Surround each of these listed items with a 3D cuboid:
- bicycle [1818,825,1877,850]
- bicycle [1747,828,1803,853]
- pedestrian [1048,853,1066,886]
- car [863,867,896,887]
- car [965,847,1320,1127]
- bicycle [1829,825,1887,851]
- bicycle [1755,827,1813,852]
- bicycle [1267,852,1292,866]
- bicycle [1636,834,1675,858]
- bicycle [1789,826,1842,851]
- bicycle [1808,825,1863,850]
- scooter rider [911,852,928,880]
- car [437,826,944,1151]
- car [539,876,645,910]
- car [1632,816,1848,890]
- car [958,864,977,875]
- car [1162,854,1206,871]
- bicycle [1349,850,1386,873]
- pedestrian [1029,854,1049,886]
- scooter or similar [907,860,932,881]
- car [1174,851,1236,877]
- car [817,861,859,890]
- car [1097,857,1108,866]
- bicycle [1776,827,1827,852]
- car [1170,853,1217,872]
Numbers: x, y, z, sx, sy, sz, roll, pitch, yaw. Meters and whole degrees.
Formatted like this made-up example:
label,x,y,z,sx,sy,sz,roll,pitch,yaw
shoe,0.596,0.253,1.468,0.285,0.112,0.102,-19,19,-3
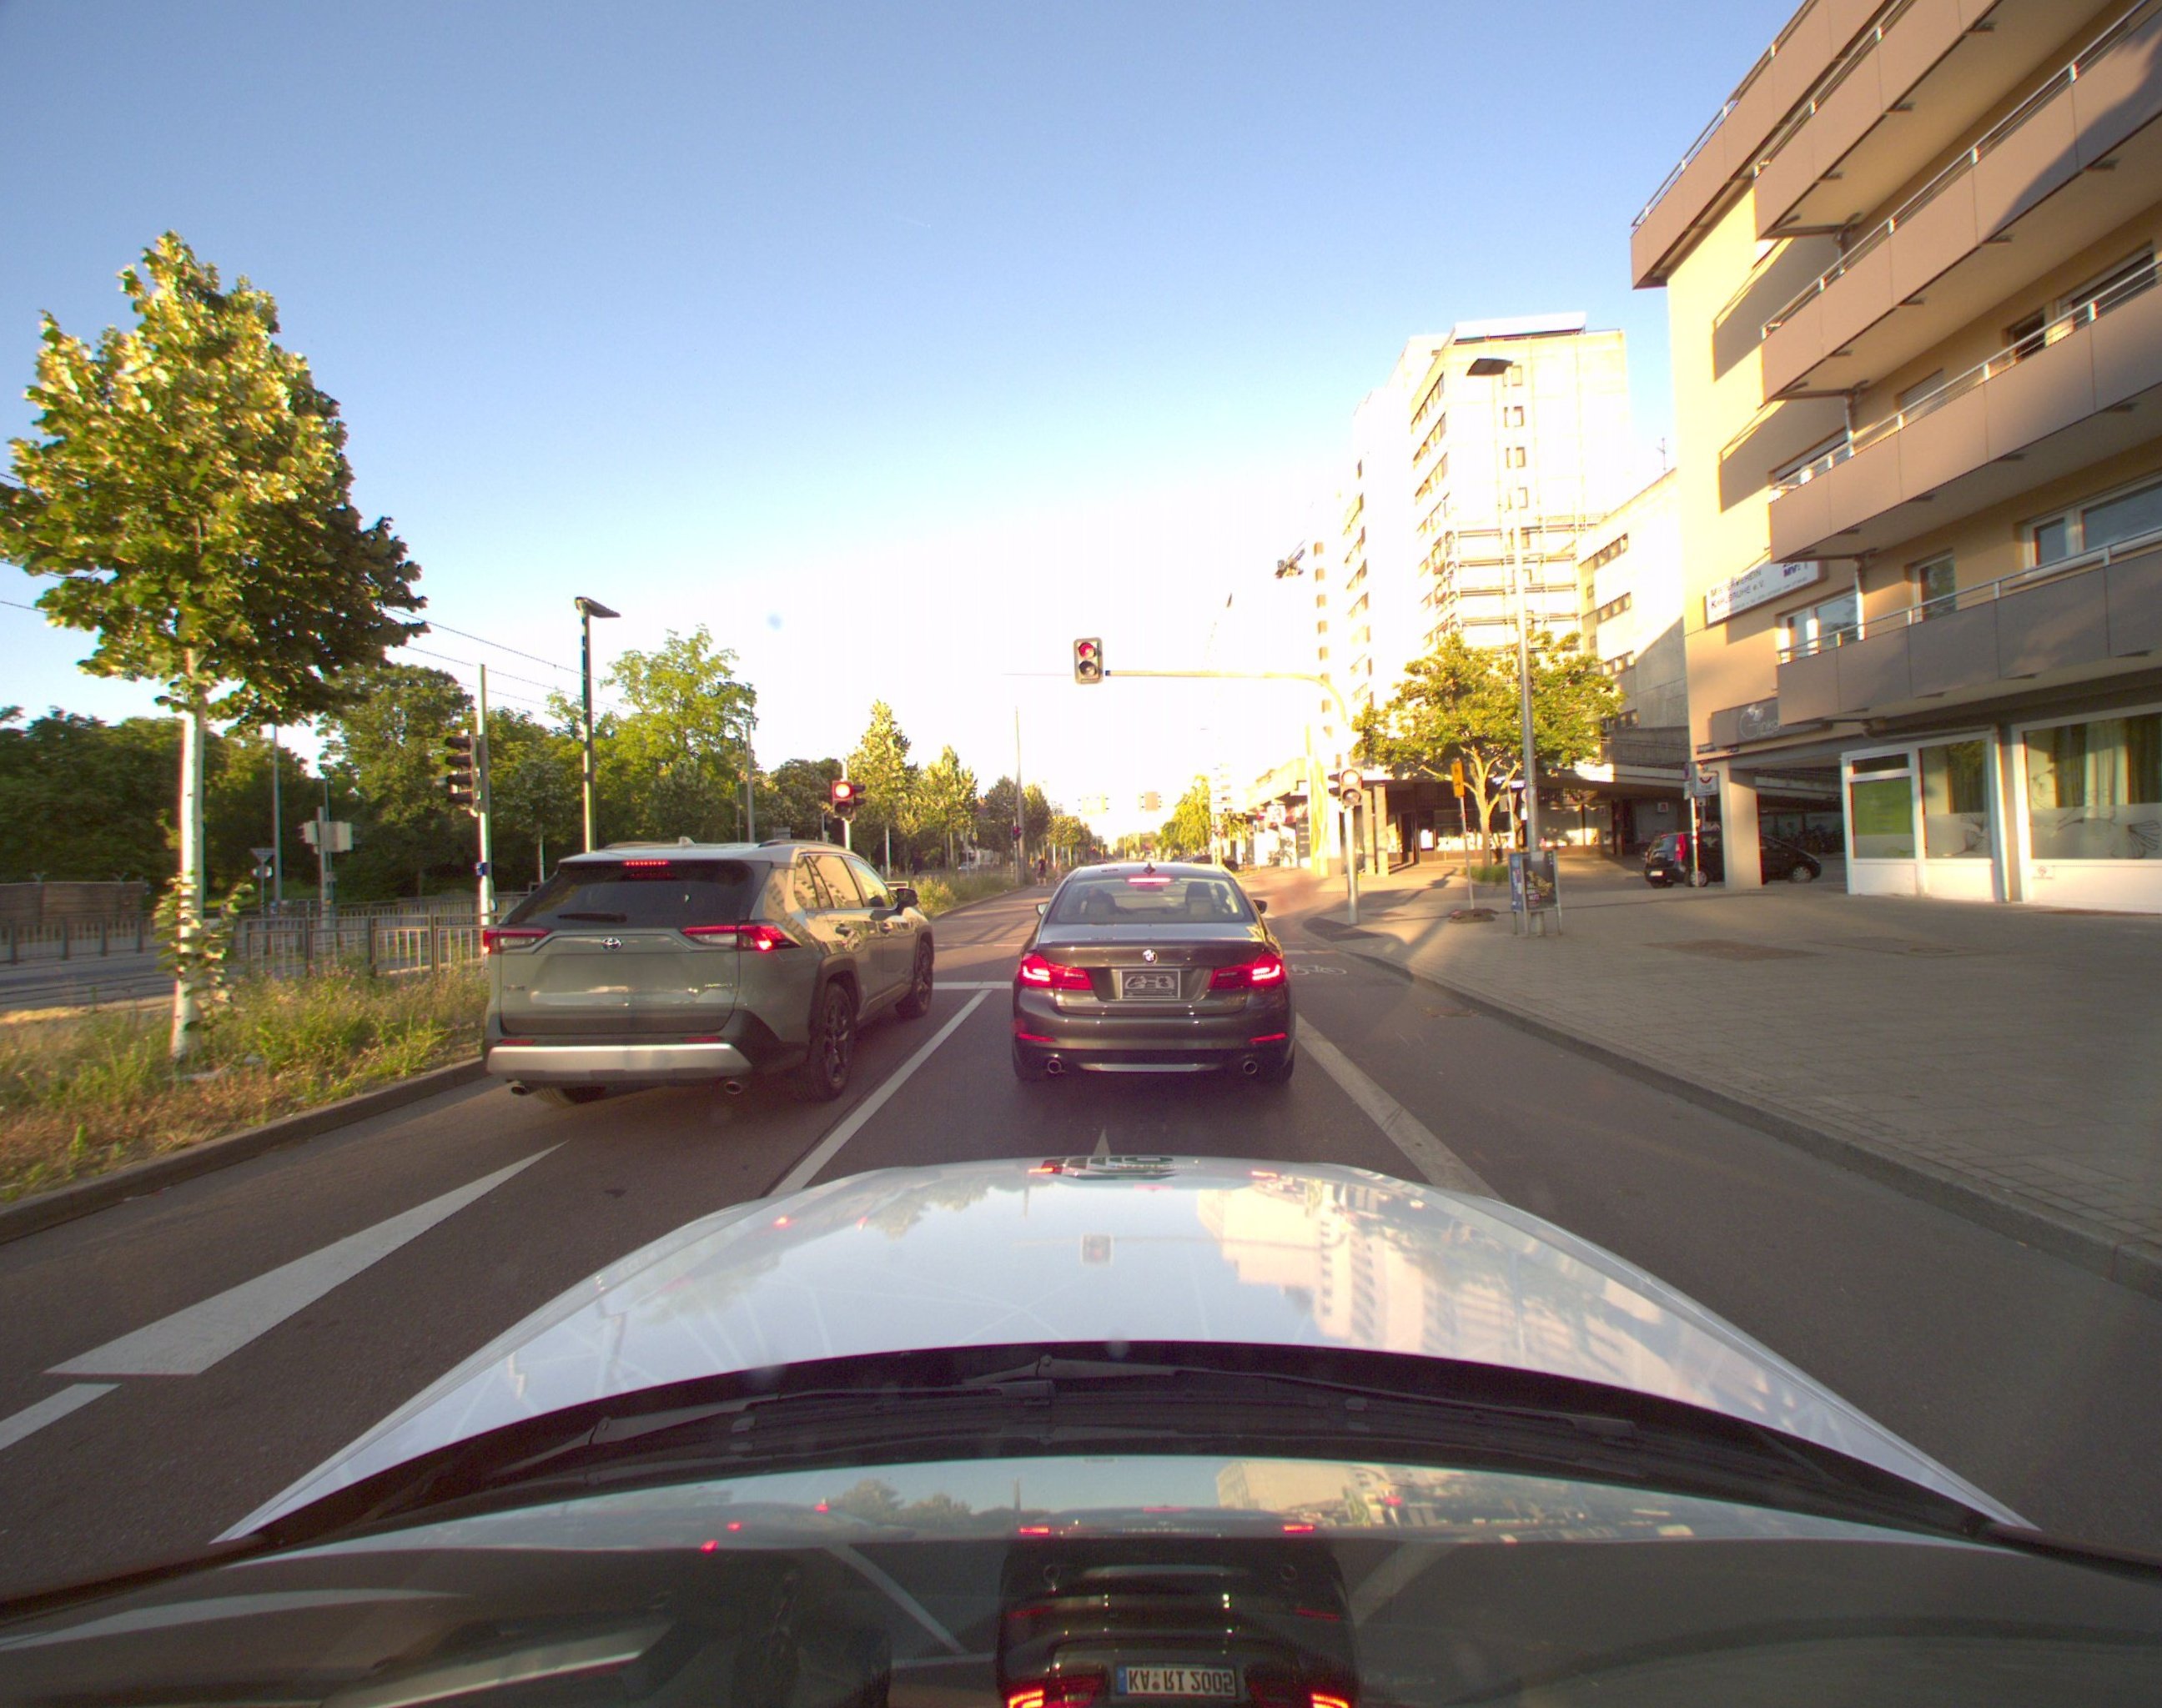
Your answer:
label,x,y,z,sx,sy,sz,roll,pitch,yaw
bicycle,34.635,-0.732,36.836,0.580,1.075,1.971,1,-1,-9
bicycle,31.797,-0.614,37.348,0.582,1.075,1.966,1,-1,-17
pedestrian,-1.283,0.818,43.619,0.832,1.712,0.648,-2,-1,1
car,-19.821,2.259,80.260,1.986,1.744,4.752,-1,1,1
car,0.533,0.720,6.734,1.923,1.481,4.529,-1,1,5
bicycle,35.263,-0.709,36.992,0.580,1.075,1.971,1,-1,-9
bicycle,32.274,-0.630,37.406,0.583,1.075,1.963,1,-1,-21
bicycle,16.733,0.422,68.742,2.005,1.149,0.692,0,-1,8
bicycle,26.956,-0.368,38.234,0.578,1.075,1.980,1,-1,5
bicycle,33.432,-0.682,37.091,0.579,1.075,1.976,1,-1,-1
bicycle,34.021,-0.732,36.767,0.579,1.075,1.974,1,-1,-4
scooter rider,-9.282,0.685,46.741,0.819,1.514,0.651,-2,-1,-6
car,-2.393,0.669,6.385,1.848,1.658,4.268,-1,1,0
car,-25.537,2.002,42.725,1.977,1.481,4.544,-1,1,18
car,17.156,0.017,21.391,4.020,1.585,1.708,-4,-4,6
car,-15.650,2.107,112.275,1.792,1.481,3.786,-2,0,3
car,10.773,0.876,85.076,4.284,1.658,1.841,-2,1,-33
bicycle,14.456,0.387,41.148,0.690,1.149,2.011,1,-1,-16
pedestrian,-2.129,0.815,41.313,0.830,1.586,0.814,-3,-1,9
scooter or similar,-9.269,0.958,46.707,1.327,1.153,0.512,-2,-1,-6
car,8.656,0.640,56.632,4.291,1.658,1.839,-2,1,-40
car,-20.160,1.728,67.814,1.987,2.168,4.751,-1,1,0
car,3.871,1.343,147.119,1.971,1.433,4.846,-1,1,2
bicycle,32.872,-0.646,37.189,0.579,1.075,1.976,1,-1,-1
car,10.899,0.816,78.818,4.285,1.658,1.841,-2,1,-34
